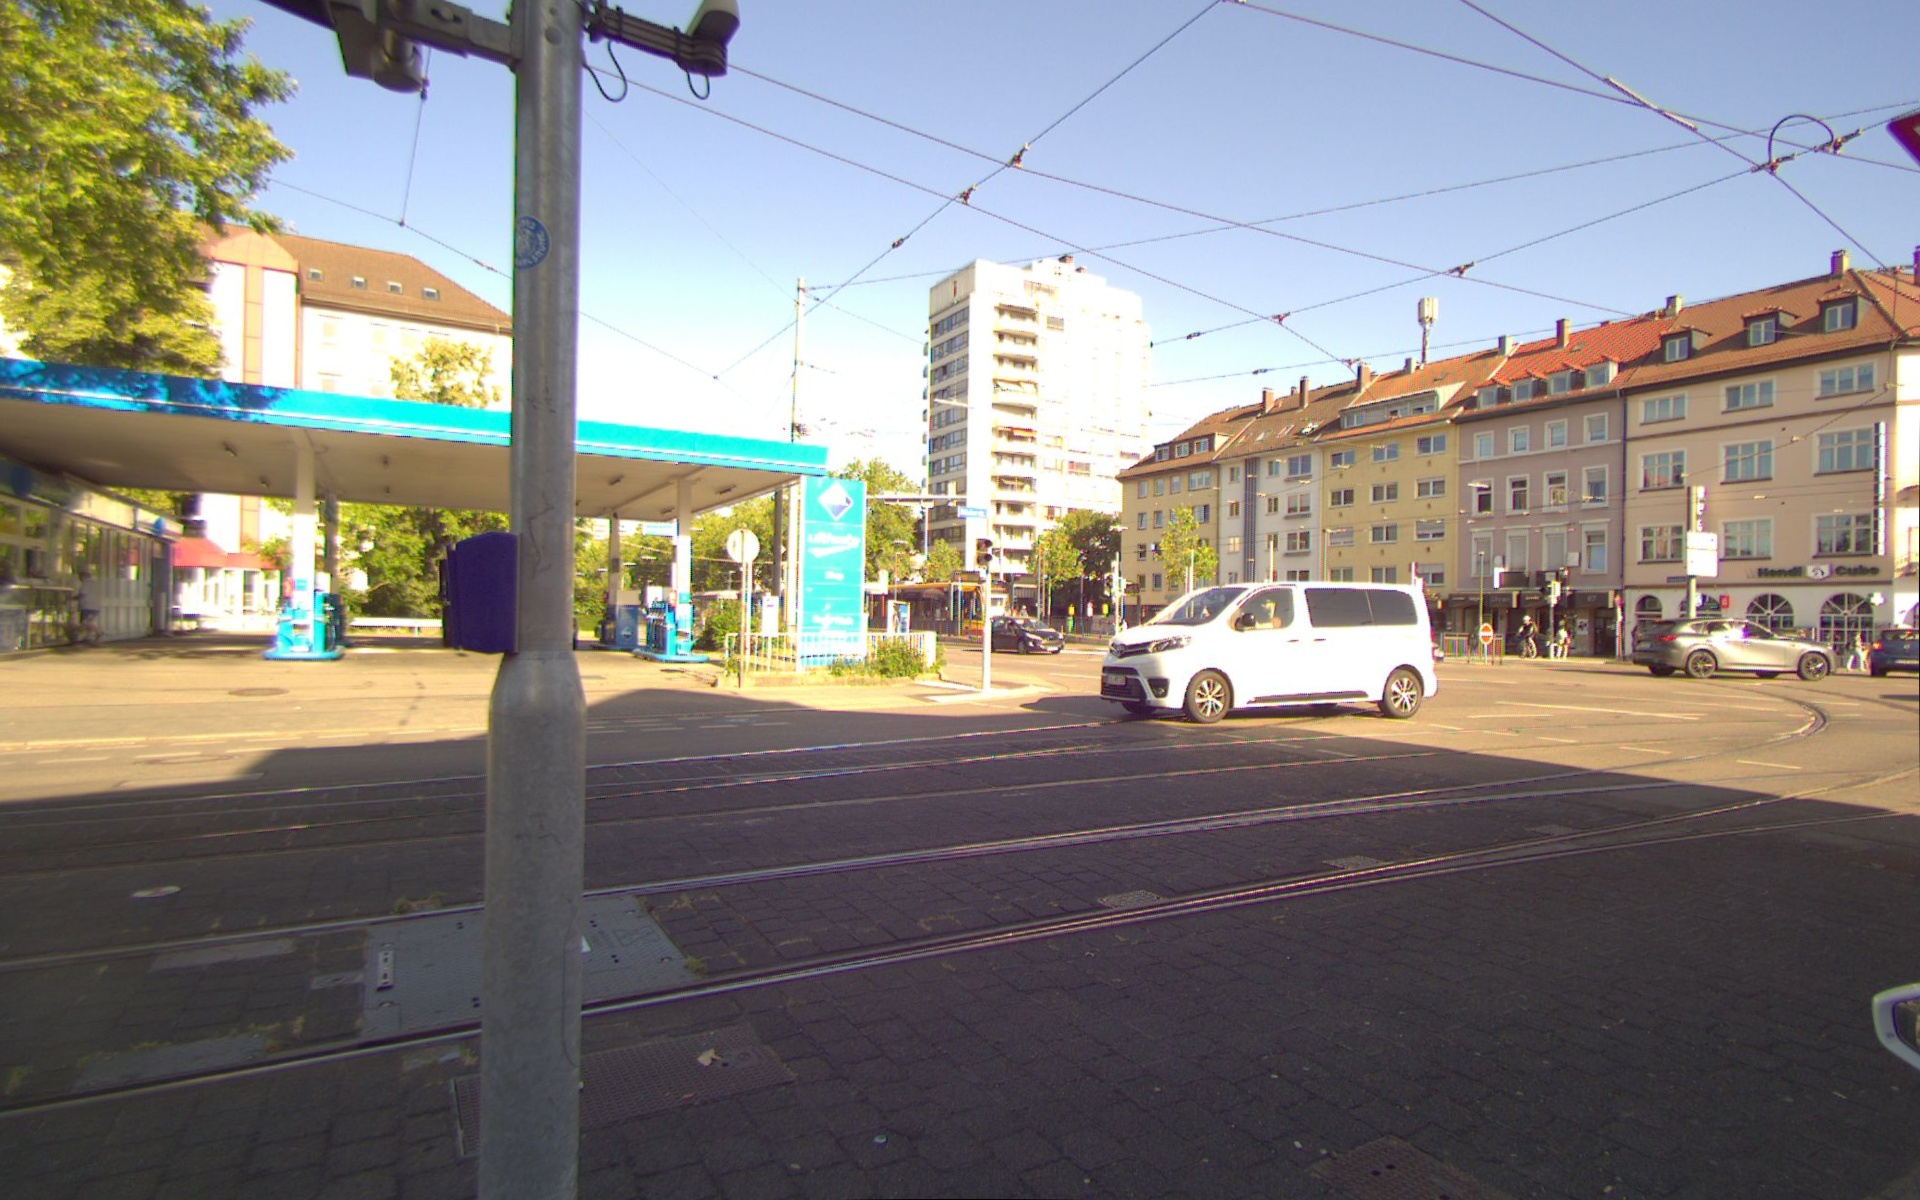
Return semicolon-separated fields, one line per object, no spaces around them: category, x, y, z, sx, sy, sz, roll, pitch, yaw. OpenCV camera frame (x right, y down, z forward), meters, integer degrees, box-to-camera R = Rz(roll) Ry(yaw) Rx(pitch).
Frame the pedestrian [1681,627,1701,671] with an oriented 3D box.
pedestrian;31.485;2.113;43.260;0.670;1.847;0.523;2;0;-37

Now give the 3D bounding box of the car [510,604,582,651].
car;-13.505;0.864;32.648;1.659;1.372;3.559;2;0;-31

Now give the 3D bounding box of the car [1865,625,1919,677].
car;29.425;1.544;31.216;1.766;1.523;3.894;0;-1;45

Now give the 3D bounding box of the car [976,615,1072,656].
car;2.542;1.399;40.819;1.976;1.537;4.177;1;-1;-29

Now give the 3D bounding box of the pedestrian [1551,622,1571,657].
pedestrian;29.384;1.946;49.098;0.609;1.670;0.581;2;0;-30

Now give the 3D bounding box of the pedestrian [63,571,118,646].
pedestrian;-20.444;0.206;23.633;0.838;1.724;0.644;2;-3;-31

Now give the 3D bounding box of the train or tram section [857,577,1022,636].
train or tram section;-1.817;0.309;62.548;2.821;3.179;16.611;2;0;-29

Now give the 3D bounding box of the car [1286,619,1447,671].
car;12.030;1.300;29.813;4.158;1.408;1.729;0;-1;35

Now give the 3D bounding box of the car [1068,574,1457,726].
car;4.284;0.676;14.242;5.136;1.878;1.991;1;-1;-20

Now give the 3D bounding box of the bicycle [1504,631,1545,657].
bicycle;24.138;1.880;42.937;1.731;1.044;0.619;2;0;-25

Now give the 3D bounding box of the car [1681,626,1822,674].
car;29.404;1.814;37.510;1.796;1.596;4.197;1;0;-3

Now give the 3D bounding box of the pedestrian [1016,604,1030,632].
pedestrian;4.787;1.366;76.004;0.729;2.127;0.880;2;0;-21

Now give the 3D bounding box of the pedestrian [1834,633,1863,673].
pedestrian;37.102;2.216;41.961;0.805;1.615;0.665;2;0;-30

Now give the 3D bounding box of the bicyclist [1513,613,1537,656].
bicyclist;24.150;1.486;42.937;0.606;1.814;0.619;2;0;-25

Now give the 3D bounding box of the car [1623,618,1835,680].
car;21.232;1.338;27.891;4.364;1.623;1.875;1;-1;4

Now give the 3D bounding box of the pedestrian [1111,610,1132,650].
pedestrian;6.603;1.219;41.057;0.750;1.631;0.613;2;0;15
